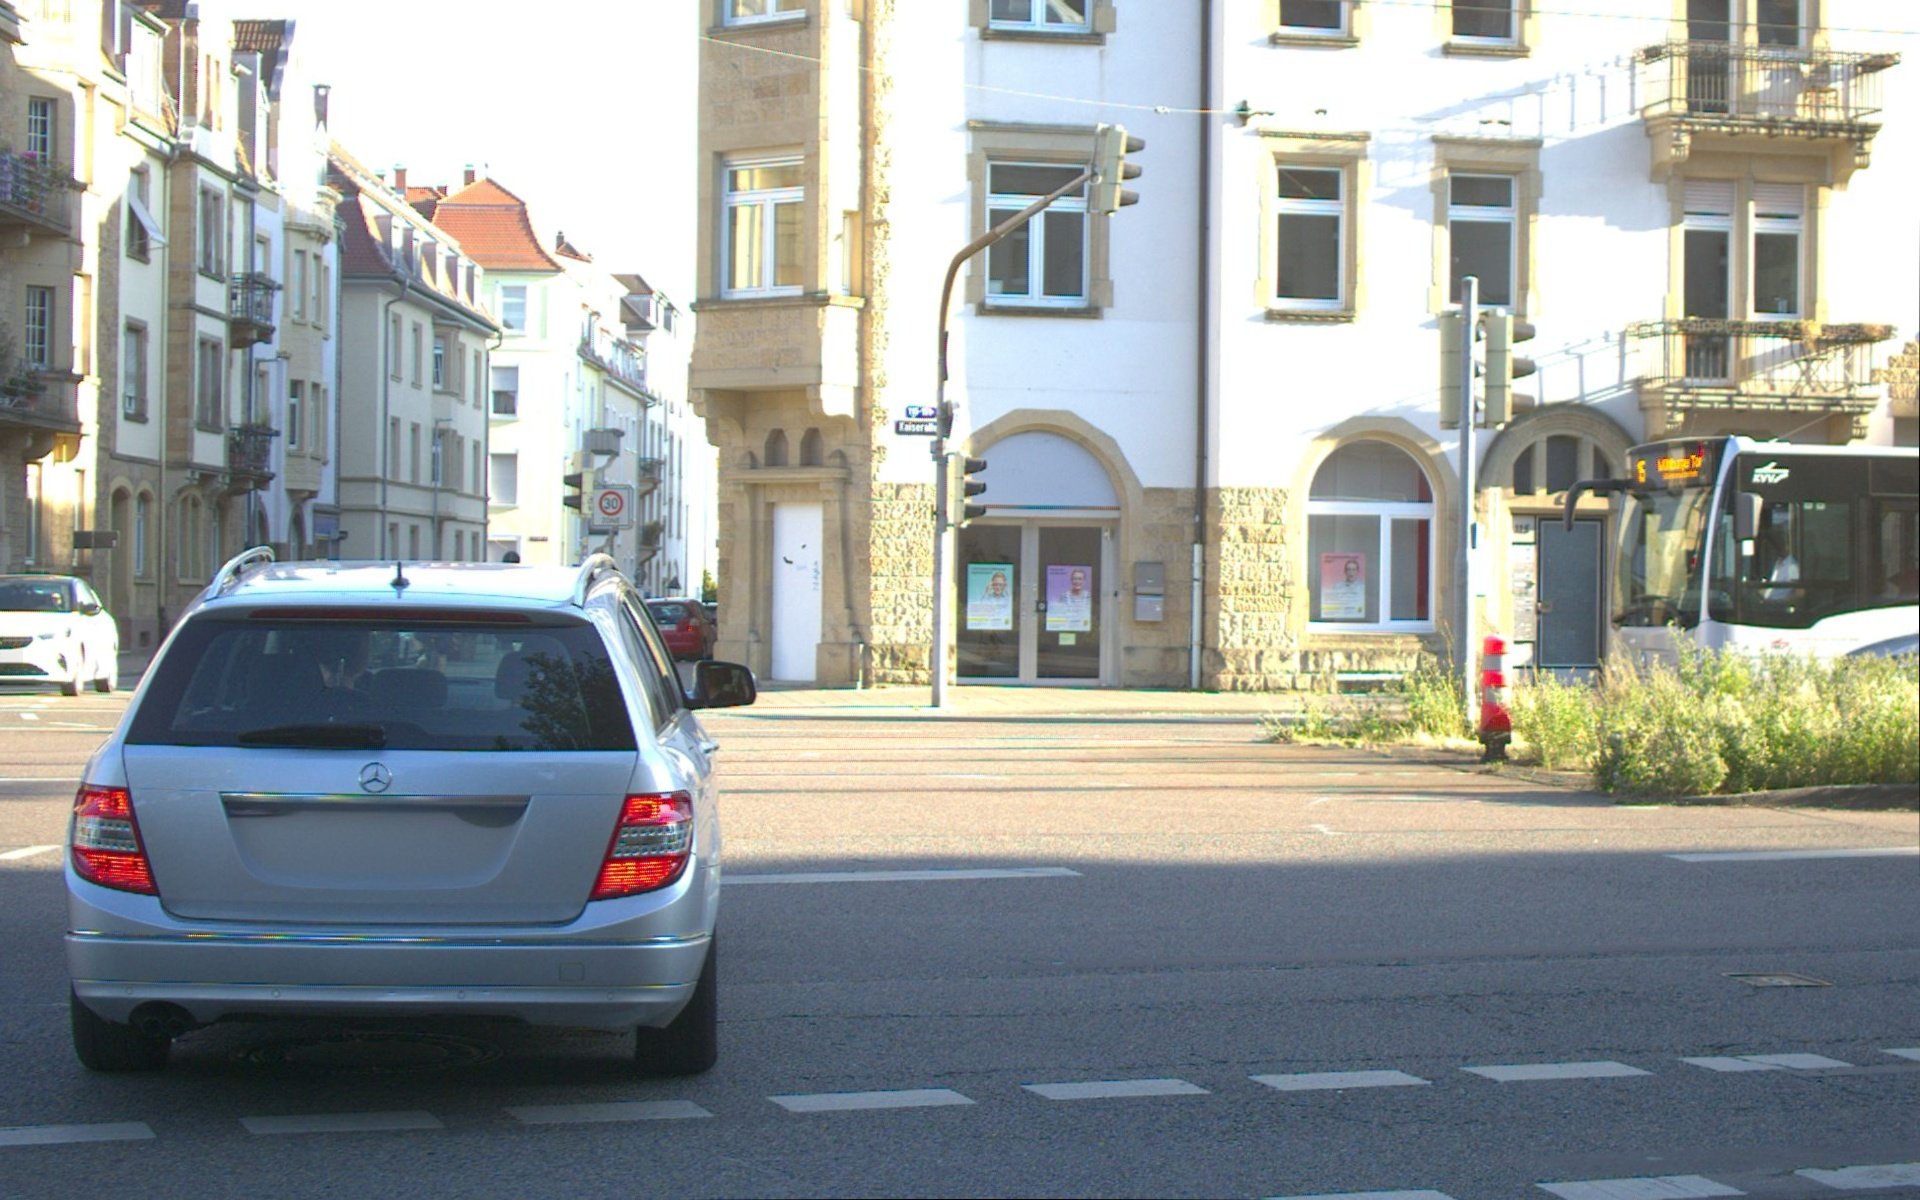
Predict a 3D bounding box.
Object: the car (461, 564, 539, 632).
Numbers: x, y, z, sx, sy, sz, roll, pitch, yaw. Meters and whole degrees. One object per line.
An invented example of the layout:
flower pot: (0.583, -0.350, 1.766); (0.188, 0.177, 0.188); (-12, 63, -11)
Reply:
car: (-12.331, -0.060, 92.326); (1.829, 1.740, 4.001); (2, 0, -4)

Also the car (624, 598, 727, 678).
car: (-6.376, 0.841, 77.410); (1.830, 1.700, 4.000); (2, 0, 2)

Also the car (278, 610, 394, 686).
car: (-13.918, 1.050, 76.892); (1.830, 1.610, 4.000); (2, 0, 0)

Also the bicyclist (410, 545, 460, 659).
bicyclist: (-6.989, 0.029, 45.776); (0.610, 1.489, 0.768); (2, 0, -9)

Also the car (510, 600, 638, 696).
car: (-6.866, 0.830, 61.476); (1.830, 1.610, 4.000); (2, 0, 0)

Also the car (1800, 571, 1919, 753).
car: (10.391, 0.623, 33.094); (3.986, 1.678, 1.937); (2, 0, -10)

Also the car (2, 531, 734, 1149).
car: (-1.581, 0.587, 10.497); (1.732, 1.472, 4.173); (2, 0, -4)

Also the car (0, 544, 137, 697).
car: (-11.024, 0.215, 40.779); (1.829, 1.700, 4.001); (2, 0, -5)

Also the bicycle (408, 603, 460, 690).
bicycle: (-7.022, 0.604, 45.838); (0.619, 1.101, 2.553); (2, 0, -9)

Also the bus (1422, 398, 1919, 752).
bus: (10.120, -0.152, 35.983); (9.863, 3.362, 3.277); (2, 0, -13)
